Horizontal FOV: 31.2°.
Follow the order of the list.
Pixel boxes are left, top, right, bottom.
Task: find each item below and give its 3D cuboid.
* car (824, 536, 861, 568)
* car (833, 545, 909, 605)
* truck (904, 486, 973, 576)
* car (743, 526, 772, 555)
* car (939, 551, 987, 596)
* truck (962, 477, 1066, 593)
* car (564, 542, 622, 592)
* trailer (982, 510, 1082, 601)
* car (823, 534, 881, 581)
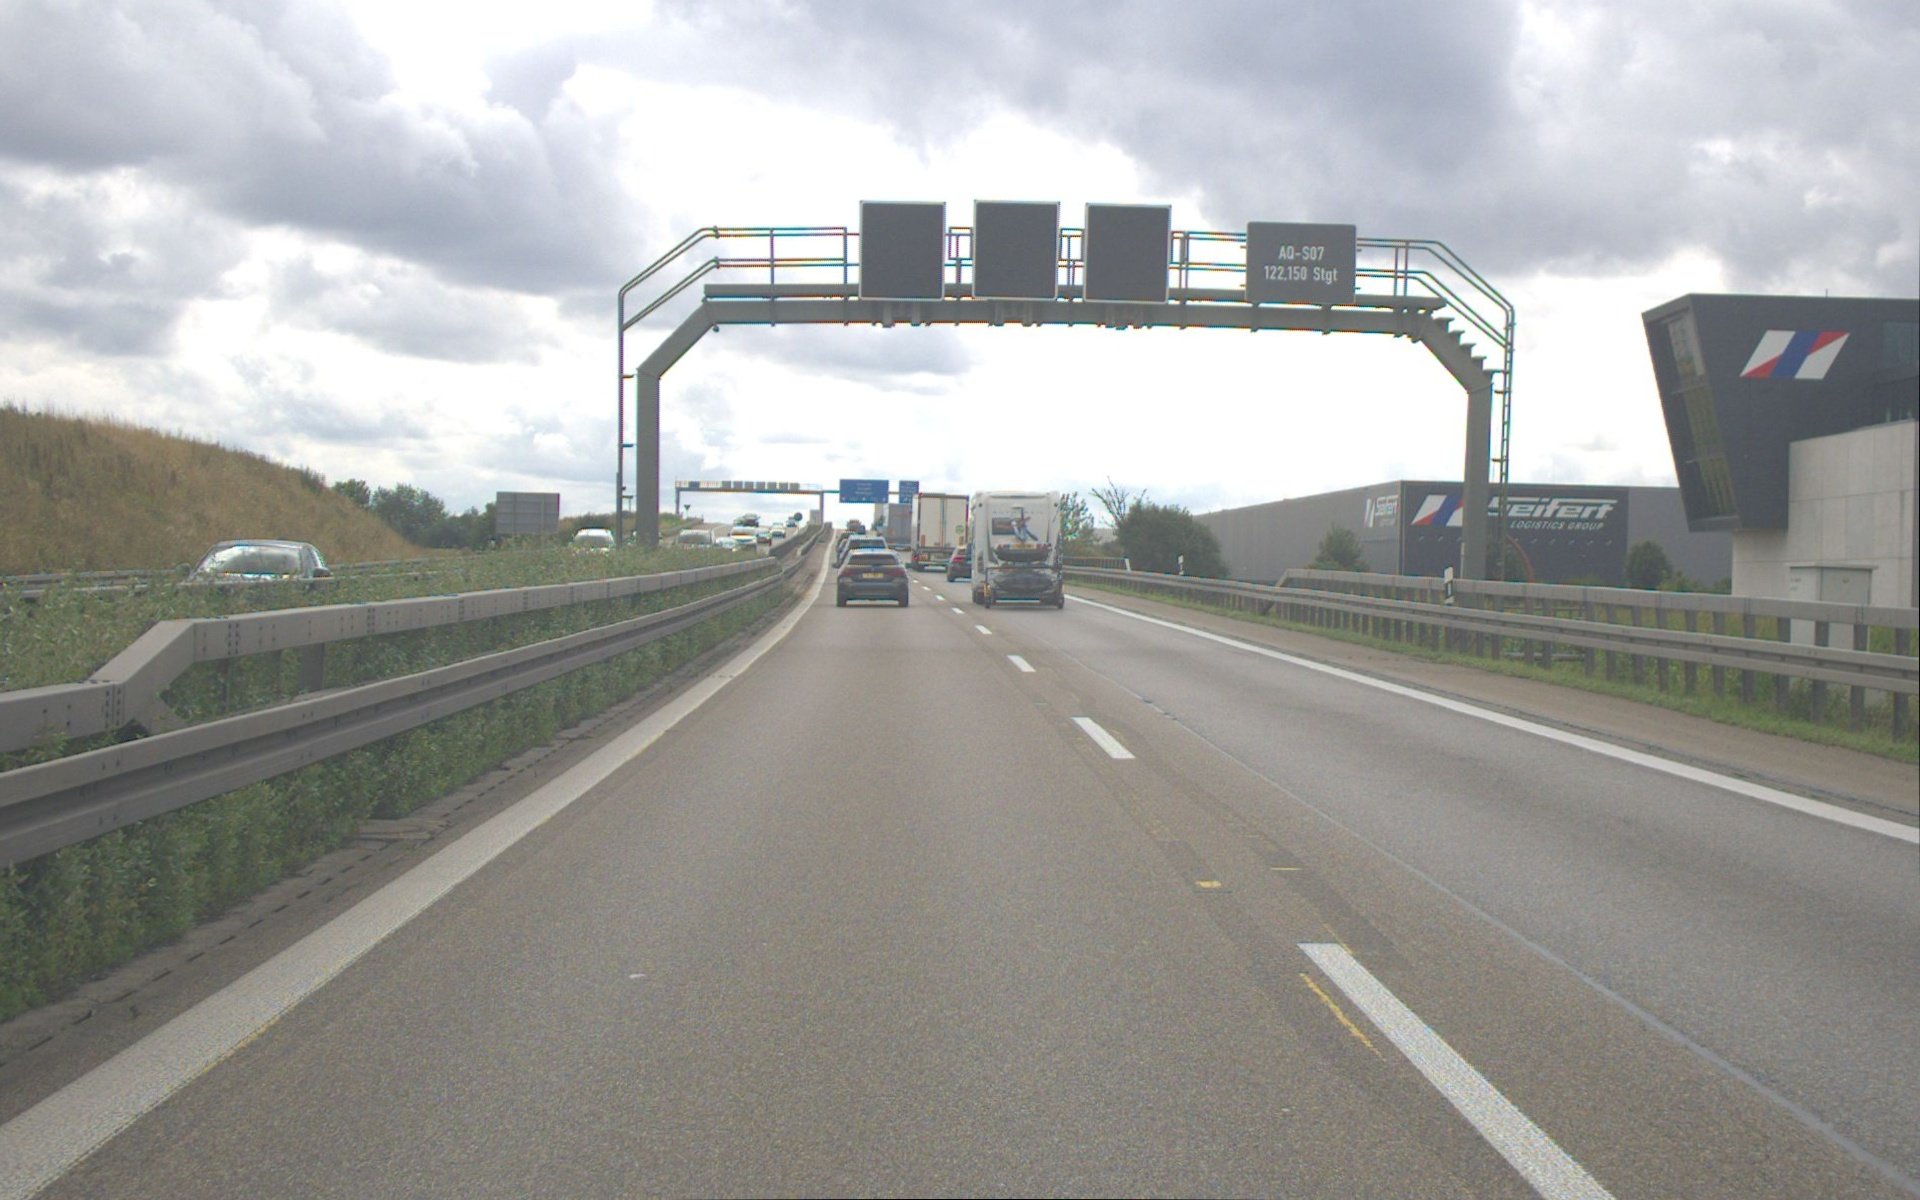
[{"bbox_3d":[-6.786,-2.754,198.367,1.943,1.769,3.696,1,0,0],"label":"car"},{"bbox_3d":[-2.220,-0.629,86.613,1.746,1.448,4.000,1,0,1],"label":"car"},{"bbox_3d":[-1.173,-3.539,179.468,3.339,4.519,8.017,1,0,-1],"label":"truck"},{"bbox_3d":[-14.192,-4.154,240.850,1.828,1.878,5.419,1,0,-1],"label":"car"},{"bbox_3d":[0.122,-1.039,135.357,1.801,1.679,4.000,1,0,0],"label":"car"},{"bbox_3d":[1.387,-1.689,91.014,2.482,2.940,5.815,1,0,-1],"label":"truck"},{"bbox_3d":[-15.176,-1.369,142.309,1.993,2.007,4.708,1,1,-1],"label":"car"},{"bbox_3d":[1.727,-1.066,83.827,2.338,2.129,4.000,1,0,1],"label":"trailer"},{"bbox_3d":[-3.930,-1.536,125.603,1.945,1.679,4.000,1,0,1],"label":"car"}]
